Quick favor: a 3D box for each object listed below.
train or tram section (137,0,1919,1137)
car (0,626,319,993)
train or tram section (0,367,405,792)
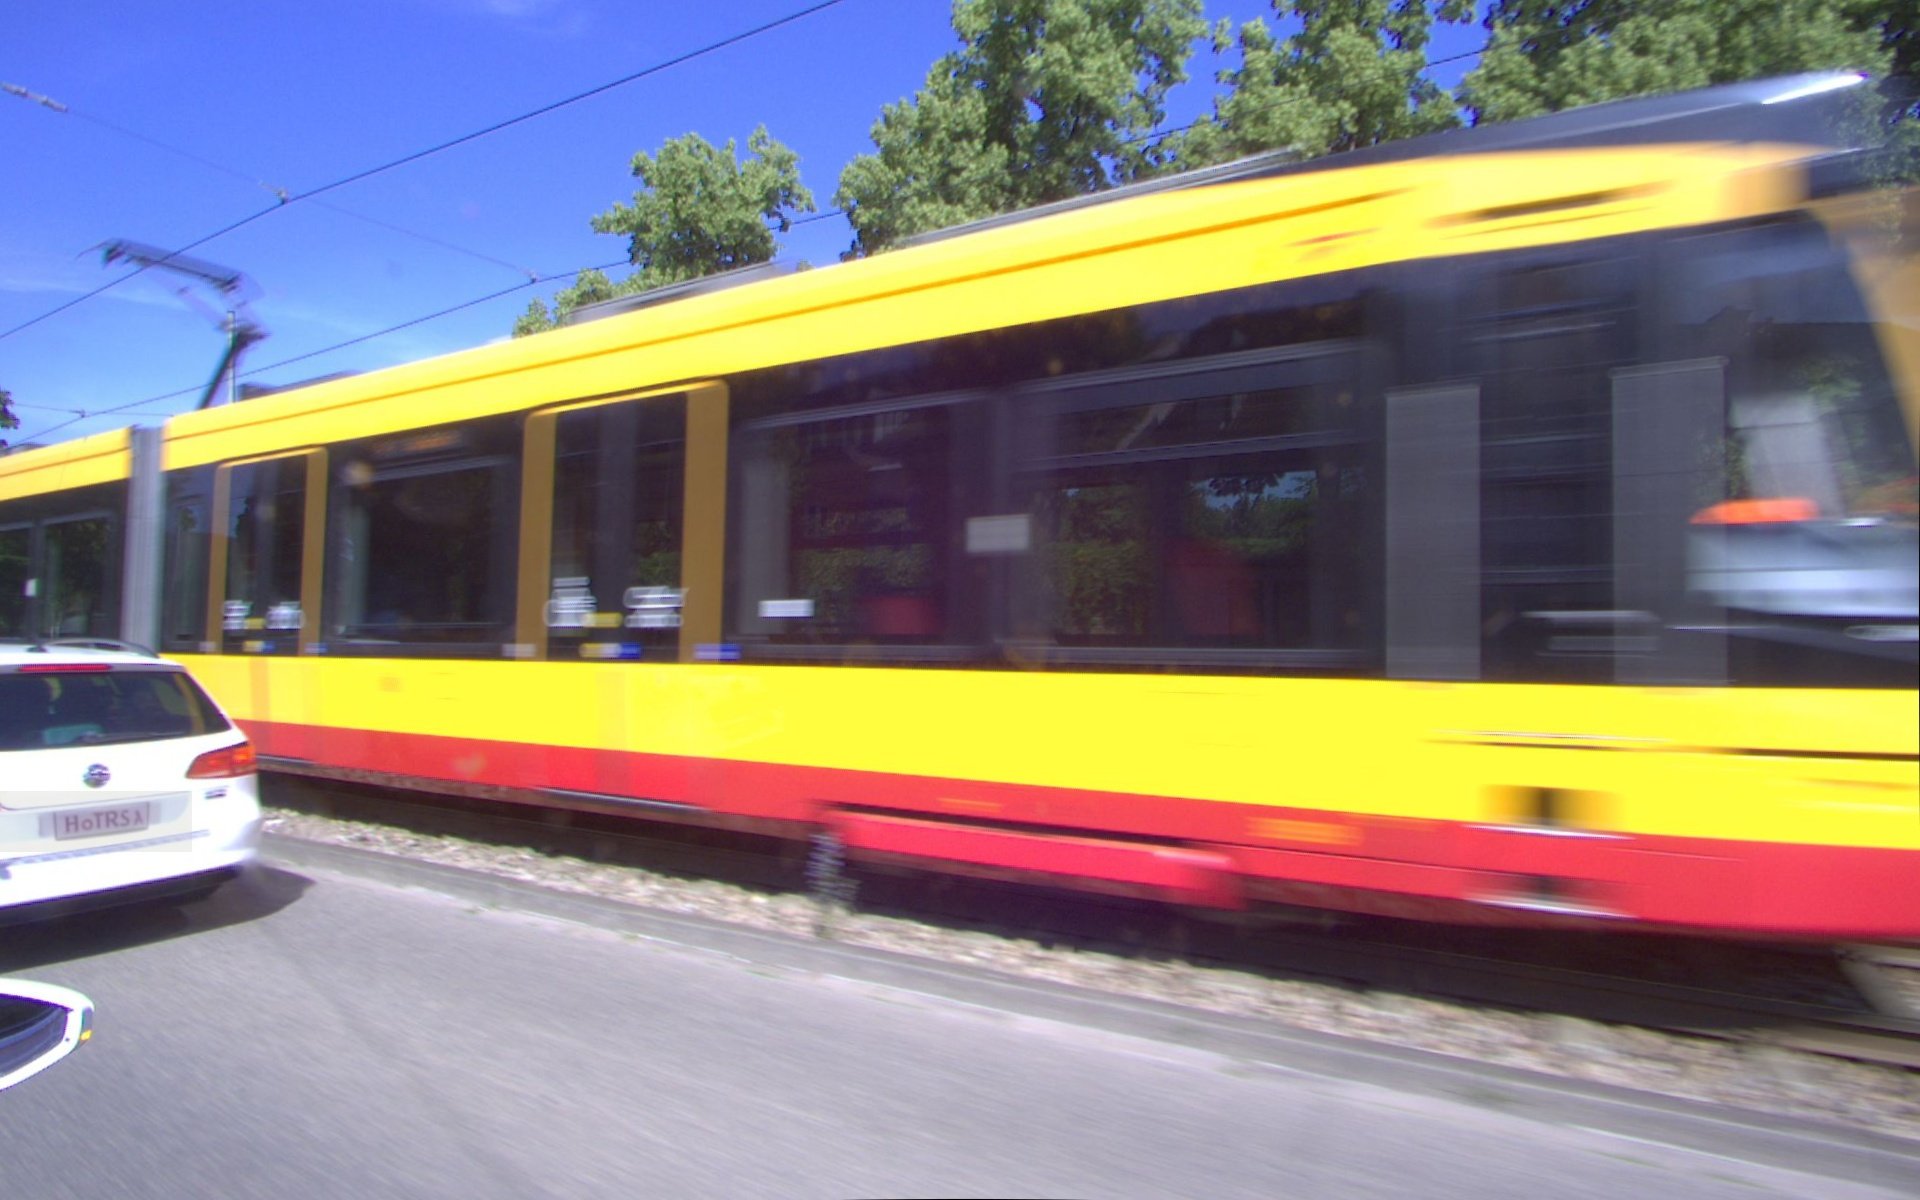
[{"bbox_3d":[-1.254,-0.232,6.852,13.114,3.796,2.508,-1,-1,31],"label":"train or tram section"},{"bbox_3d":[-5.616,0.889,5.498,4.391,1.470,1.690,-1,-1,30],"label":"car"},{"bbox_3d":[-12.356,-0.084,13.542,13.119,3.796,2.506,-1,-1,32],"label":"train or tram section"}]
